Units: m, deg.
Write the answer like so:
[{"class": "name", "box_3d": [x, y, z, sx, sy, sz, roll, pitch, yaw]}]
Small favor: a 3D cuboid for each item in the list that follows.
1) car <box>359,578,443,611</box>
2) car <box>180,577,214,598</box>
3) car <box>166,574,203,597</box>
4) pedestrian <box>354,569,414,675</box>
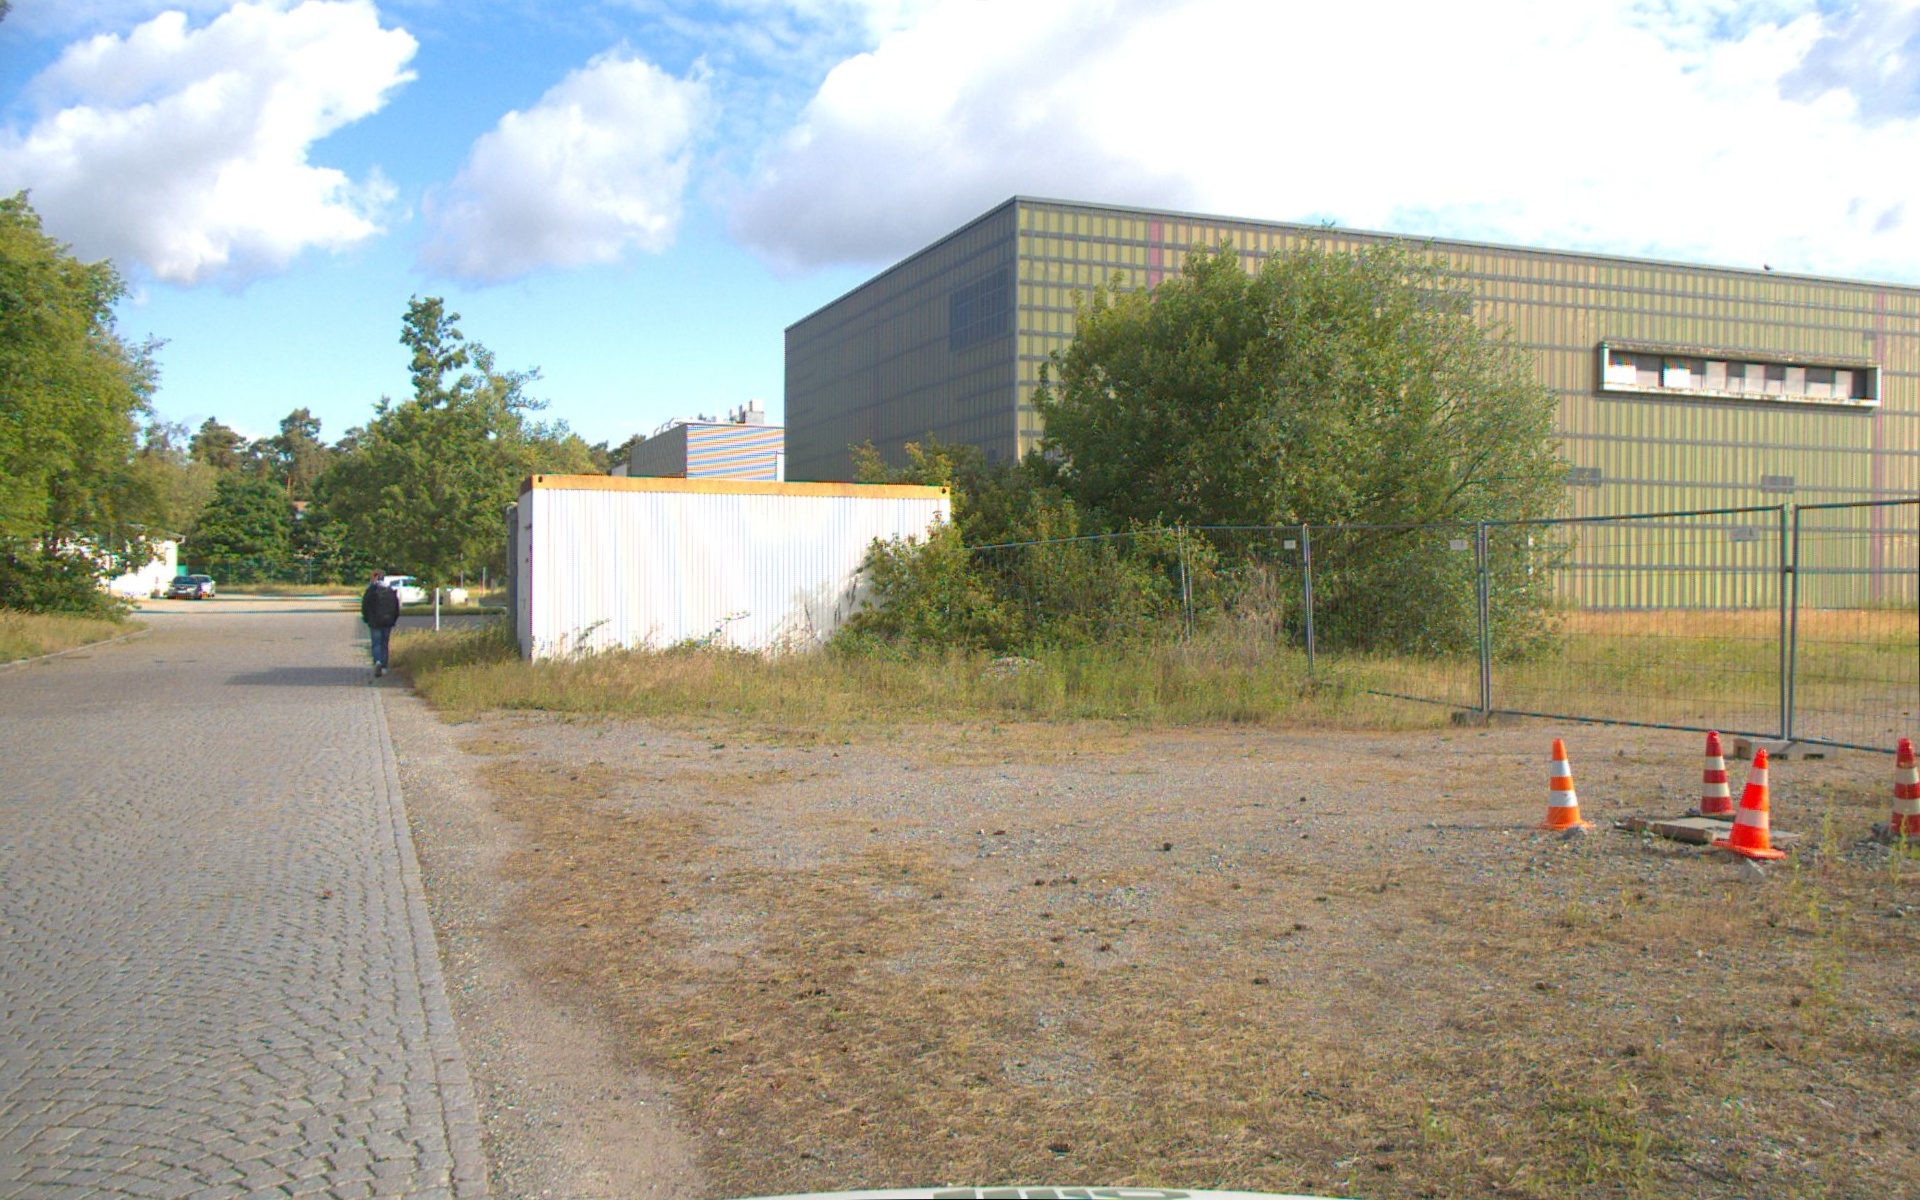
[{"class": "car", "box_3d": [-28.530, -0.291, 84.545, 3.922, 1.671, 1.992, 0, 1, -16]}, {"class": "car", "box_3d": [-51.714, -0.877, 112.069, 1.970, 1.400, 3.965, 0, 1, -27]}, {"class": "car", "box_3d": [-48.086, -0.921, 102.519, 1.970, 1.395, 3.965, 0, 1, -27]}, {"class": "pedestrian", "box_3d": [-8.873, 0.324, 25.471, 0.852, 1.586, 1.022, 0, 0, -20]}]
